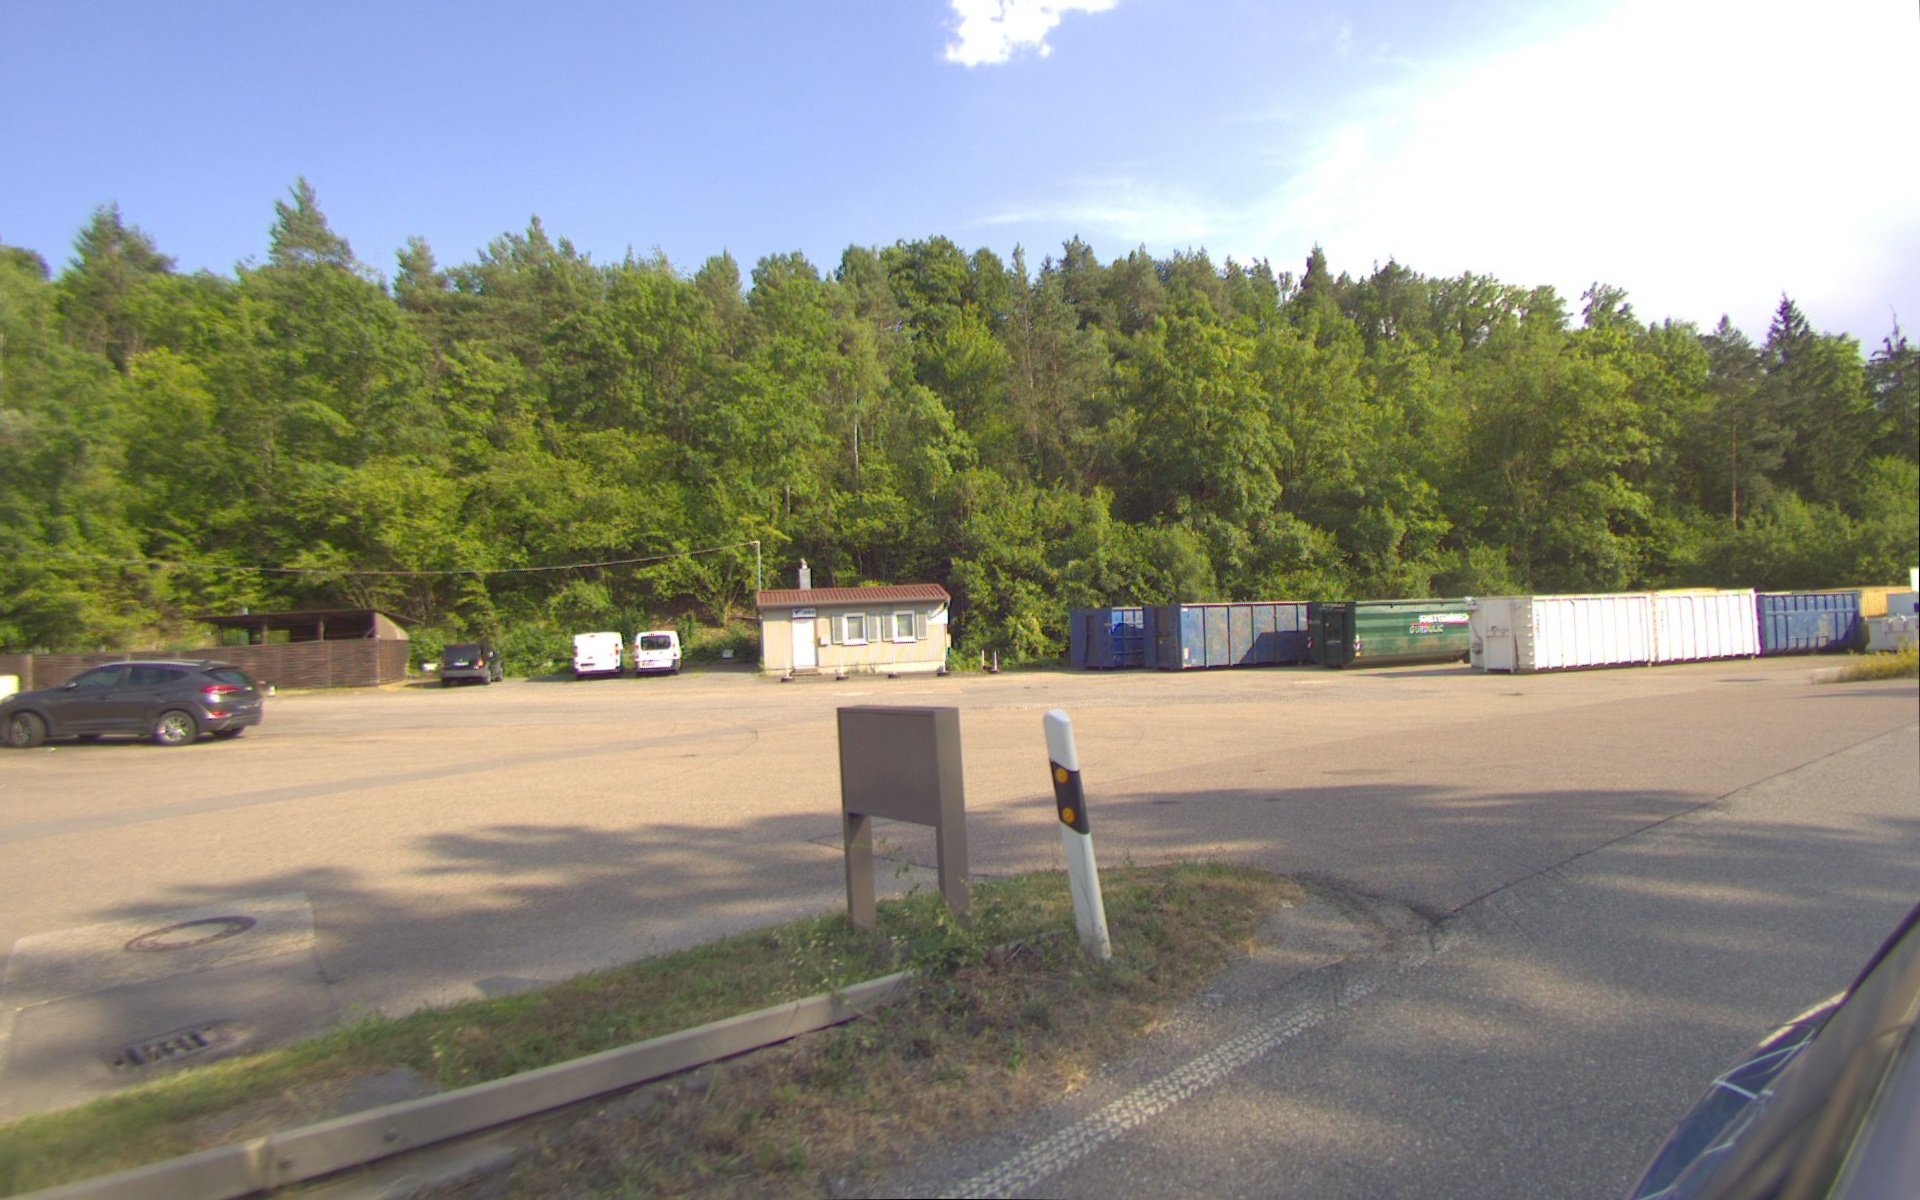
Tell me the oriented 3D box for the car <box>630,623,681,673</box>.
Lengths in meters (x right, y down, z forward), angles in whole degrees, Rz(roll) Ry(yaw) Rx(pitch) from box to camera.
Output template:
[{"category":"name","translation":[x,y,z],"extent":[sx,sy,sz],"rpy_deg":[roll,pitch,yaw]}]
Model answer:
[{"category":"car","translation":[-13.409,2.104,44.779],"extent":[1.958,2.040,4.567],"rpy_deg":[-1,-2,-14]}]

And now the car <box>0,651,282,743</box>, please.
[{"category":"car","translation":[-16.473,1.893,20.318],"extent":[4.315,1.691,1.945],"rpy_deg":[0,-2,-7]}]

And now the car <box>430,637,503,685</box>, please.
[{"category":"car","translation":[-20.706,2.513,42.606],"extent":[1.954,1.695,4.565],"rpy_deg":[-1,0,-16]}]

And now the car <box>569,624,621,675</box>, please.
[{"category":"car","translation":[-15.864,2.131,44.148],"extent":[1.958,2.040,4.104],"rpy_deg":[-1,-2,-18]}]
